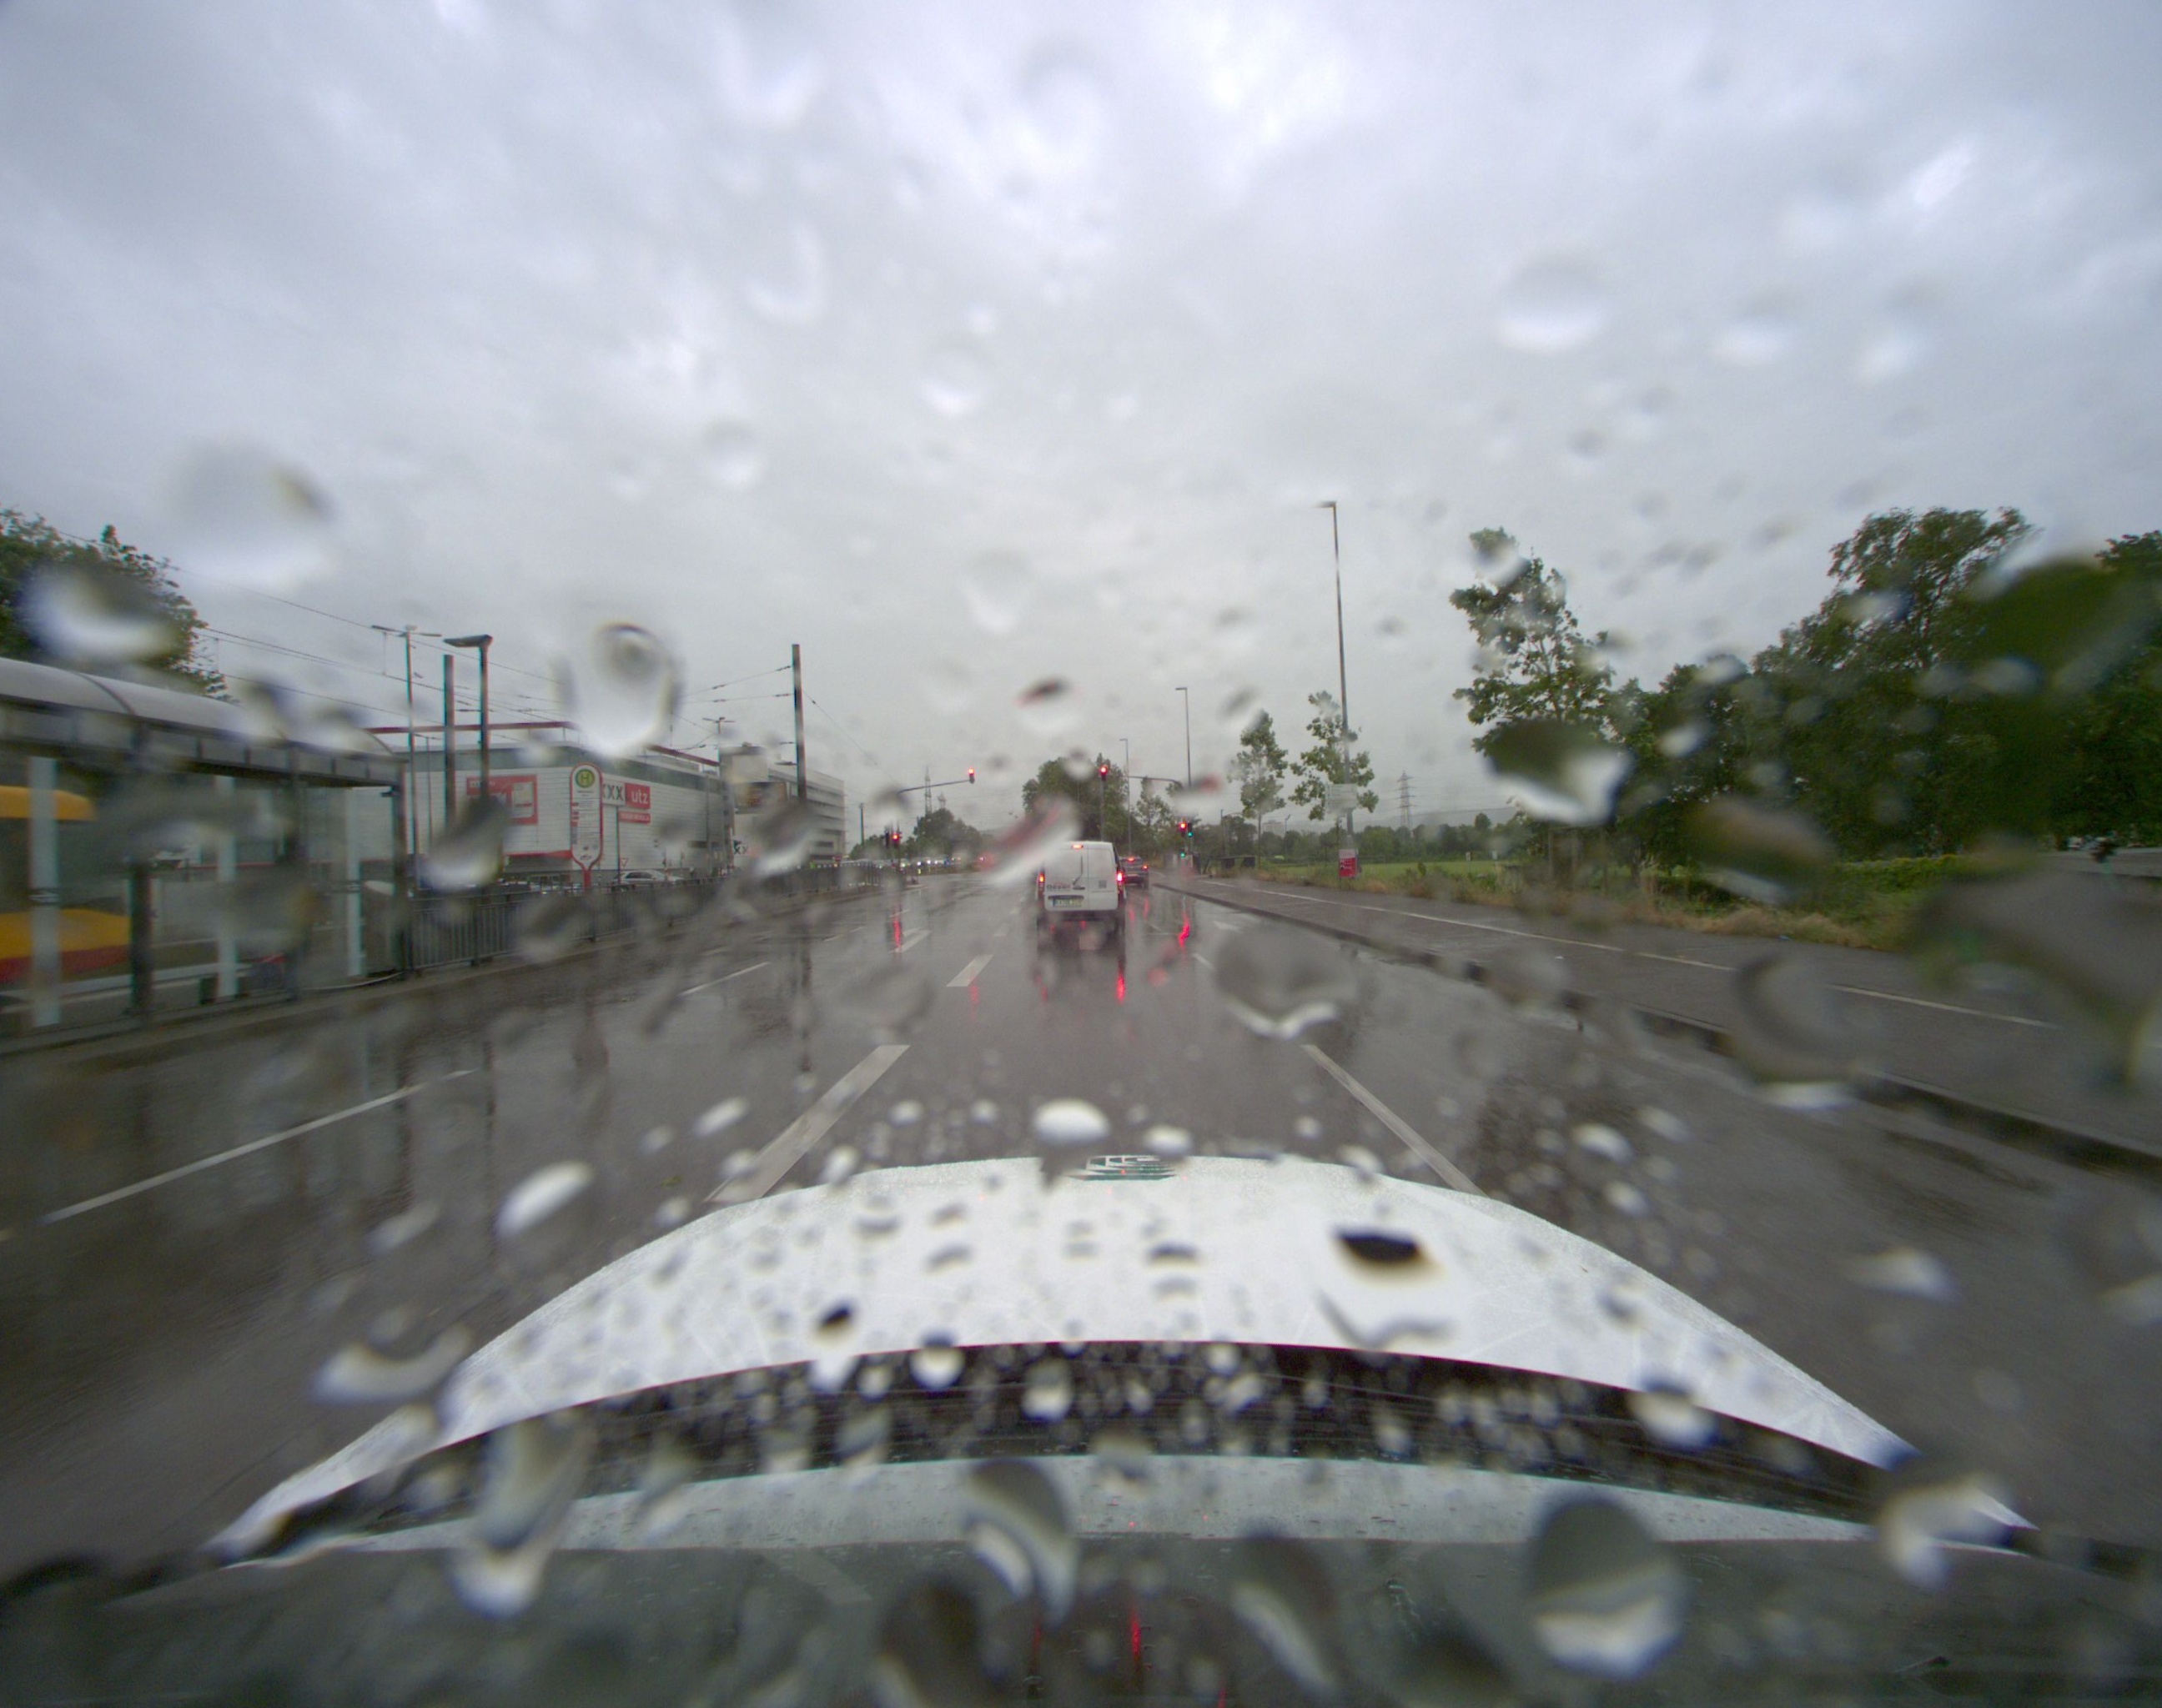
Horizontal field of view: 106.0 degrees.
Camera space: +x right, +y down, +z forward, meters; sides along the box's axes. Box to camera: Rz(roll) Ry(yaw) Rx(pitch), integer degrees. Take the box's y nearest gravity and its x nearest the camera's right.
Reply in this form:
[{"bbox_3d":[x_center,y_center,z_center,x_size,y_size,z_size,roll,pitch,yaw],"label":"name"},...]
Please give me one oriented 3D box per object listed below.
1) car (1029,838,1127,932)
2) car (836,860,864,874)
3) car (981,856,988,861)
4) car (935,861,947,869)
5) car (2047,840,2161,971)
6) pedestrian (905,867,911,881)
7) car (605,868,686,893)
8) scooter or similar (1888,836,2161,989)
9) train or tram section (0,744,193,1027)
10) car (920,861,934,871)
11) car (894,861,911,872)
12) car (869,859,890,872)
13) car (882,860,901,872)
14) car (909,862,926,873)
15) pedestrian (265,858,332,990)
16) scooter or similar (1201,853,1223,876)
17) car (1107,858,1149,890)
[{"bbox_3d":[-0.181,0.576,17.537,1.751,1.750,4.162,-1,0,-5],"label":"car"},{"bbox_3d":[-22.894,1.313,80.820,1.706,1.426,3.806,0,-1,-1],"label":"car"},{"bbox_3d":[-26.960,1.241,226.960,1.555,1.426,3.566,0,-1,-1],"label":"car"},{"bbox_3d":[-24.557,1.919,142.780,1.555,1.426,3.566,0,-1,-1],"label":"car"},{"bbox_3d":[12.221,0.494,8.223,3.222,1.288,1.346,0,-1,3],"label":"car"},{"bbox_3d":[-10.544,1.213,49.554,0.314,0.897,0.380,0,0,-4],"label":"pedestrian"},{"bbox_3d":[-29.740,1.795,55.775,4.446,1.662,1.948,0,-2,-8],"label":"car"},{"bbox_3d":[8.424,0.472,7.373,0.365,1.199,1.913,-1,-1,2],"label":"scooter or similar"},{"bbox_3d":[-16.345,0.394,6.765,3.732,3.839,13.243,0,-1,-2],"label":"train or tram section"},{"bbox_3d":[-23.758,1.841,125.407,1.555,1.426,3.566,0,-1,-1],"label":"car"},{"bbox_3d":[-23.533,1.684,107.503,1.555,1.426,3.566,0,-1,-1],"label":"car"},{"bbox_3d":[-23.232,1.366,93.950,1.555,1.426,3.566,0,-1,-1],"label":"car"},{"bbox_3d":[-23.446,1.504,101.021,1.555,1.426,3.566,0,-1,-1],"label":"car"},{"bbox_3d":[-23.043,1.936,114.828,1.706,1.426,3.806,0,-1,-1],"label":"car"},{"bbox_3d":[-9.089,0.800,9.468,0.319,1.493,0.416,0,-2,3],"label":"pedestrian"},{"bbox_3d":[7.127,0.570,44.429,0.688,1.211,3.019,-2,0,0],"label":"scooter or similar"},{"bbox_3d":[2.245,0.944,39.687,1.680,1.508,3.917,0,-1,-2],"label":"car"}]
